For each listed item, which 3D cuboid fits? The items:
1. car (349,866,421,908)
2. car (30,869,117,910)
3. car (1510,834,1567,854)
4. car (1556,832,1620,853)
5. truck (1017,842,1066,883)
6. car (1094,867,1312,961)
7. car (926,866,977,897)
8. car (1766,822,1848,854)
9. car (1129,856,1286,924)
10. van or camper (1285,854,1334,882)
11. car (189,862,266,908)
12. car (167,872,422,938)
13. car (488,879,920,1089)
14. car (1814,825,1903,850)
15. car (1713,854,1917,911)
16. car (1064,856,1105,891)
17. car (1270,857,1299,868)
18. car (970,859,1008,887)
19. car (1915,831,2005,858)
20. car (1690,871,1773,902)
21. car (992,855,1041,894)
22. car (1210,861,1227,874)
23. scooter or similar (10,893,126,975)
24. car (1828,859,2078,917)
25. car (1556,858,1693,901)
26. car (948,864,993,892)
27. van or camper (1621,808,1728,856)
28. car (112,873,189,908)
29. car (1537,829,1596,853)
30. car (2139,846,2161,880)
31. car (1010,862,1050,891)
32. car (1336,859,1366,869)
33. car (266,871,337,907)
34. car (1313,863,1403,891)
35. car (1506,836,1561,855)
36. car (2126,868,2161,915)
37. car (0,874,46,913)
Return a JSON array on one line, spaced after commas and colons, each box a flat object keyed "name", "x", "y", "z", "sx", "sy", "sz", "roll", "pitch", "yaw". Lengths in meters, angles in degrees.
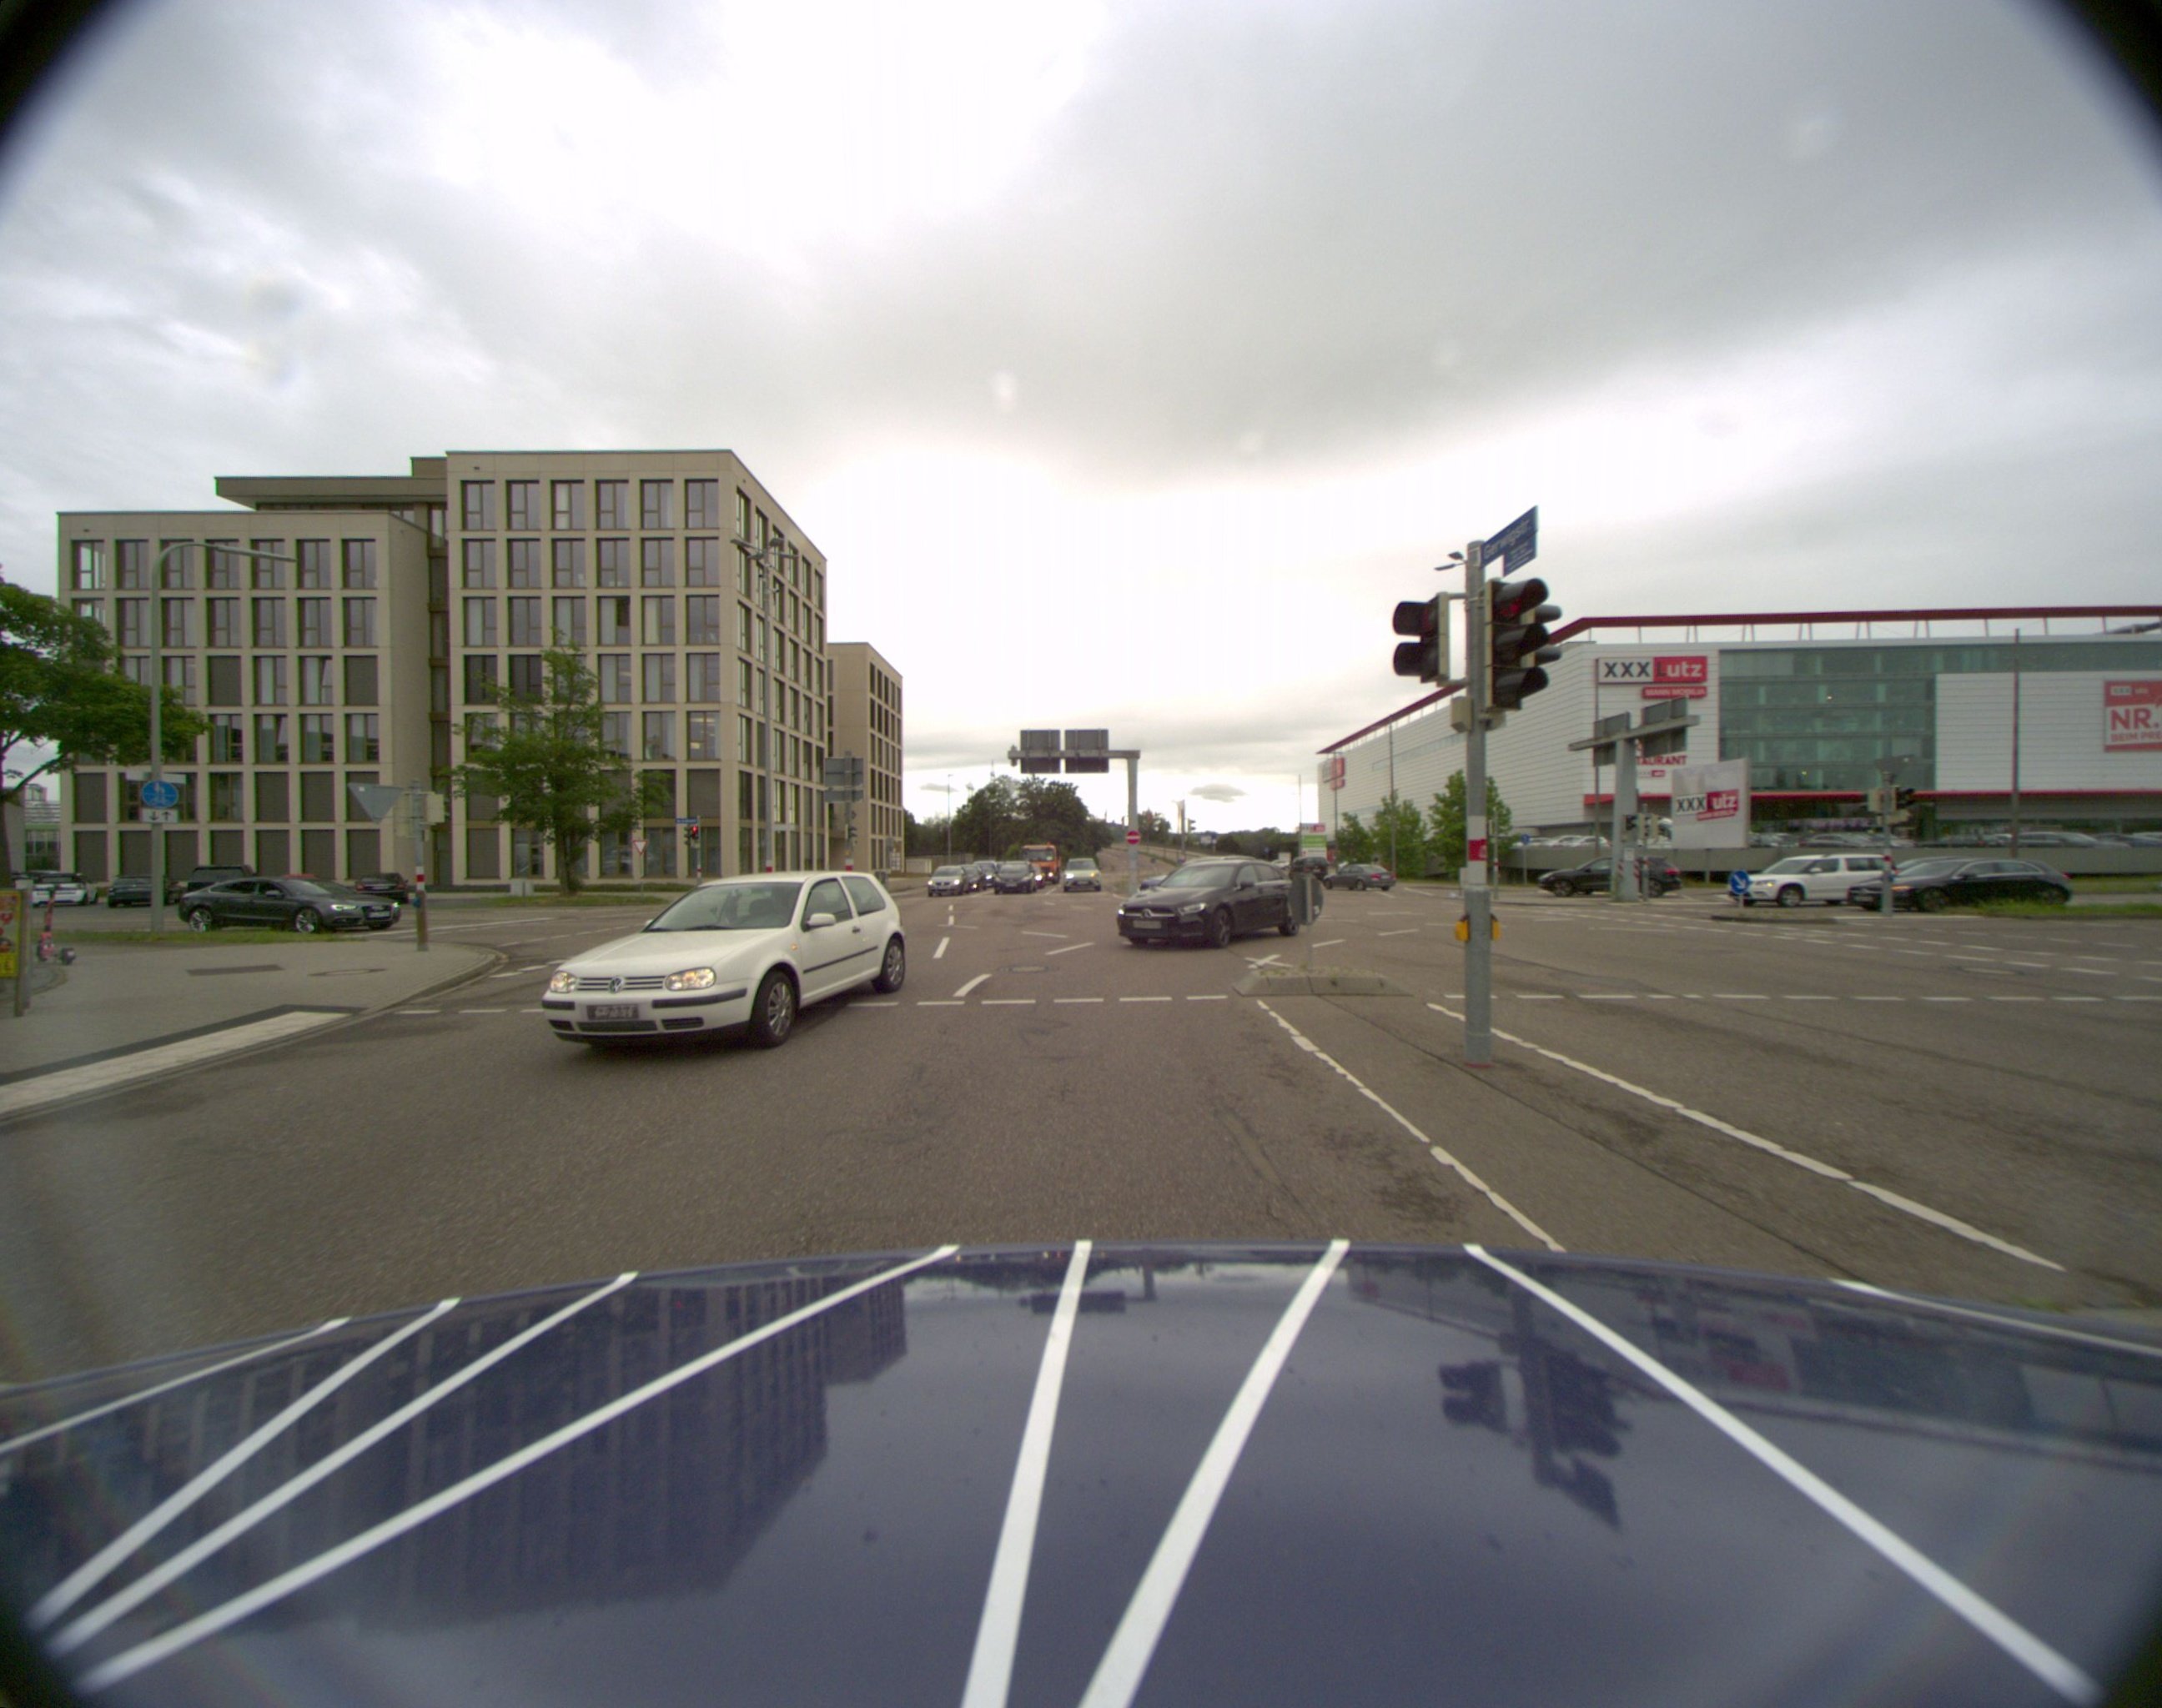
[{"name": "car", "x": -32.080, "y": 1.470, "z": 35.142, "sx": 1.892, "sy": 1.758, "sz": 4.123, "roll": -1, "pitch": 0, "yaw": -35}, {"name": "car", "x": -47.737, "y": 1.680, "z": 36.065, "sx": 1.594, "sy": 1.787, "sz": 3.426, "roll": 0, "pitch": -2, "yaw": -37}, {"name": "car", "x": 43.270, "y": -0.947, "z": 71.940, "sx": 4.255, "sy": 1.665, "sz": 1.778, "roll": -2, "pitch": -2, "yaw": 4}, {"name": "car", "x": 43.777, "y": -0.965, "z": 65.651, "sx": 4.255, "sy": 1.665, "sz": 1.778, "roll": -2, "pitch": -2, "yaw": 4}, {"name": "truck", "x": -2.686, "y": 0.679, "z": 53.620, "sx": 2.819, "sy": 2.622, "sz": 6.678, "roll": -2, "pitch": -2, "yaw": 2}, {"name": "car", "x": 2.330, "y": 0.972, "z": 13.667, "sx": 1.855, "sy": 1.426, "sz": 4.206, "roll": -2, "pitch": -2, "yaw": 42}, {"name": "car", "x": -6.401, "y": 1.356, "z": 37.890, "sx": 1.750, "sy": 1.423, "sz": 4.099, "roll": -2, "pitch": -2, "yaw": 1}, {"name": "car", "x": 48.915, "y": -1.044, "z": 51.334, "sx": 1.868, "sy": 1.935, "sz": 3.870, "roll": -2, "pitch": -2, "yaw": 3}, {"name": "car", "x": 3.448, "y": 0.903, "z": 20.197, "sx": 4.341, "sy": 1.612, "sz": 1.843, "roll": 0, "pitch": -2, "yaw": -43}, {"name": "van or camper", "x": 17.291, "y": 1.065, "z": 57.807, "sx": 2.163, "sy": 2.001, "sz": 4.944, "roll": 1, "pitch": -1, "yaw": 0}, {"name": "car", "x": -39.667, "y": 1.404, "z": 35.413, "sx": 2.004, "sy": 1.954, "sz": 4.233, "roll": -1, "pitch": 0, "yaw": -44}, {"name": "car", "x": -19.690, "y": 1.250, "z": 19.144, "sx": 4.608, "sy": 1.542, "sz": 1.986, "roll": -1, "pitch": 0, "yaw": 5}, {"name": "car", "x": -3.218, "y": 1.017, "z": 7.531, "sx": 1.836, "sy": 1.468, "sz": 4.009, "roll": -2, "pitch": -2, "yaw": 9}, {"name": "car", "x": 52.272, "y": -1.068, "z": 51.190, "sx": 1.868, "sy": 1.428, "sz": 3.995, "roll": -2, "pitch": -2, "yaw": 1}, {"name": "car", "x": 22.731, "y": 0.882, "z": 23.674, "sx": 4.369, "sy": 1.615, "sz": 1.801, "roll": -2, "pitch": -2, "yaw": 5}, {"name": "car", "x": 0.144, "y": 0.999, "z": 38.248, "sx": 1.904, "sy": 1.633, "sz": 4.069, "roll": -1, "pitch": -2, "yaw": -1}, {"name": "car", "x": 32.158, "y": 1.371, "z": 120.014, "sx": 4.191, "sy": 1.600, "sz": 1.724, "roll": -1, "pitch": -2, "yaw": 8}, {"name": "car", "x": -6.173, "y": 1.302, "z": 51.673, "sx": 1.998, "sy": 1.758, "sz": 4.151, "roll": -2, "pitch": -2, "yaw": 1}, {"name": "car", "x": 64.822, "y": -0.660, "z": 56.156, "sx": 1.998, "sy": 1.728, "sz": 4.002, "roll": -2, "pitch": -2, "yaw": 1}, {"name": "car", "x": 44.887, "y": 2.233, "z": 52.506, "sx": 3.997, "sy": 2.001, "sz": 2.001, "roll": -2, "pitch": -2, "yaw": 0}, {"name": "car", "x": -3.130, "y": 1.024, "z": 37.716, "sx": 1.998, "sy": 1.758, "sz": 4.423, "roll": -2, "pitch": -2, "yaw": 1}, {"name": "car", "x": 16.407, "y": 1.574, "z": 90.389, "sx": 1.831, "sy": 1.402, "sz": 4.203, "roll": 3, "pitch": -1, "yaw": 12}, {"name": "scooter or similar", "x": -15.637, "y": 1.209, "z": 11.733, "sx": 1.557, "sy": 1.211, "sz": 0.560, "roll": -1, "pitch": -2, "yaw": 18}, {"name": "car", "x": 23.164, "y": 0.912, "z": 20.349, "sx": 4.253, "sy": 1.370, "sz": 1.770, "roll": -2, "pitch": -2, "yaw": 8}, {"name": "car", "x": 21.747, "y": 0.996, "z": 30.557, "sx": 4.362, "sy": 1.615, "sz": 1.804, "roll": -1, "pitch": -2, "yaw": 35}, {"name": "car", "x": -6.203, "y": 1.357, "z": 42.980, "sx": 1.871, "sy": 1.481, "sz": 4.151, "roll": -2, "pitch": -2, "yaw": 1}, {"name": "van or camper", "x": 44.628, "y": -1.524, "z": 57.441, "sx": 2.712, "sy": 3.116, "sz": 7.241, "roll": -2, "pitch": -2, "yaw": 4}, {"name": "car", "x": -43.086, "y": 1.652, "z": 35.254, "sx": 1.701, "sy": 1.502, "sz": 3.807, "roll": -1, "pitch": 0, "yaw": -42}, {"name": "car", "x": 44.195, "y": -1.135, "z": 69.211, "sx": 3.995, "sy": 2.001, "sz": 2.001, "roll": -2, "pitch": -2, "yaw": 5}, {"name": "car", "x": 63.558, "y": 0.460, "z": 42.926, "sx": 1.998, "sy": 2.001, "sz": 4.002, "roll": -2, "pitch": -2, "yaw": 2}, {"name": "car", "x": -2.945, "y": 1.347, "z": 44.727, "sx": 1.998, "sy": 1.591, "sz": 4.001, "roll": -2, "pitch": -2, "yaw": 1}, {"name": "car", "x": 43.125, "y": 1.588, "z": 121.422, "sx": 4.194, "sy": 1.600, "sz": 1.723, "roll": -1, "pitch": -2, "yaw": 1}, {"name": "car", "x": -36.437, "y": 1.609, "z": 35.612, "sx": 1.892, "sy": 1.542, "sz": 4.122, "roll": -1, "pitch": 0, "yaw": -40}, {"name": "car", "x": 14.973, "y": 1.249, "z": 41.374, "sx": 1.820, "sy": 1.402, "sz": 4.869, "roll": 1, "pitch": -1, "yaw": -21}, {"name": "car", "x": 44.609, "y": -0.815, "z": 74.908, "sx": 4.255, "sy": 1.665, "sz": 1.778, "roll": -2, "pitch": -2, "yaw": 4}, {"name": "car", "x": 34.487, "y": 1.072, "z": 22.524, "sx": 4.214, "sy": 1.407, "sz": 1.804, "roll": -2, "pitch": -2, "yaw": 4}, {"name": "car", "x": -49.461, "y": 1.814, "z": 34.646, "sx": 1.769, "sy": 1.721, "sz": 3.426, "roll": 0, "pitch": -2, "yaw": -37}]
